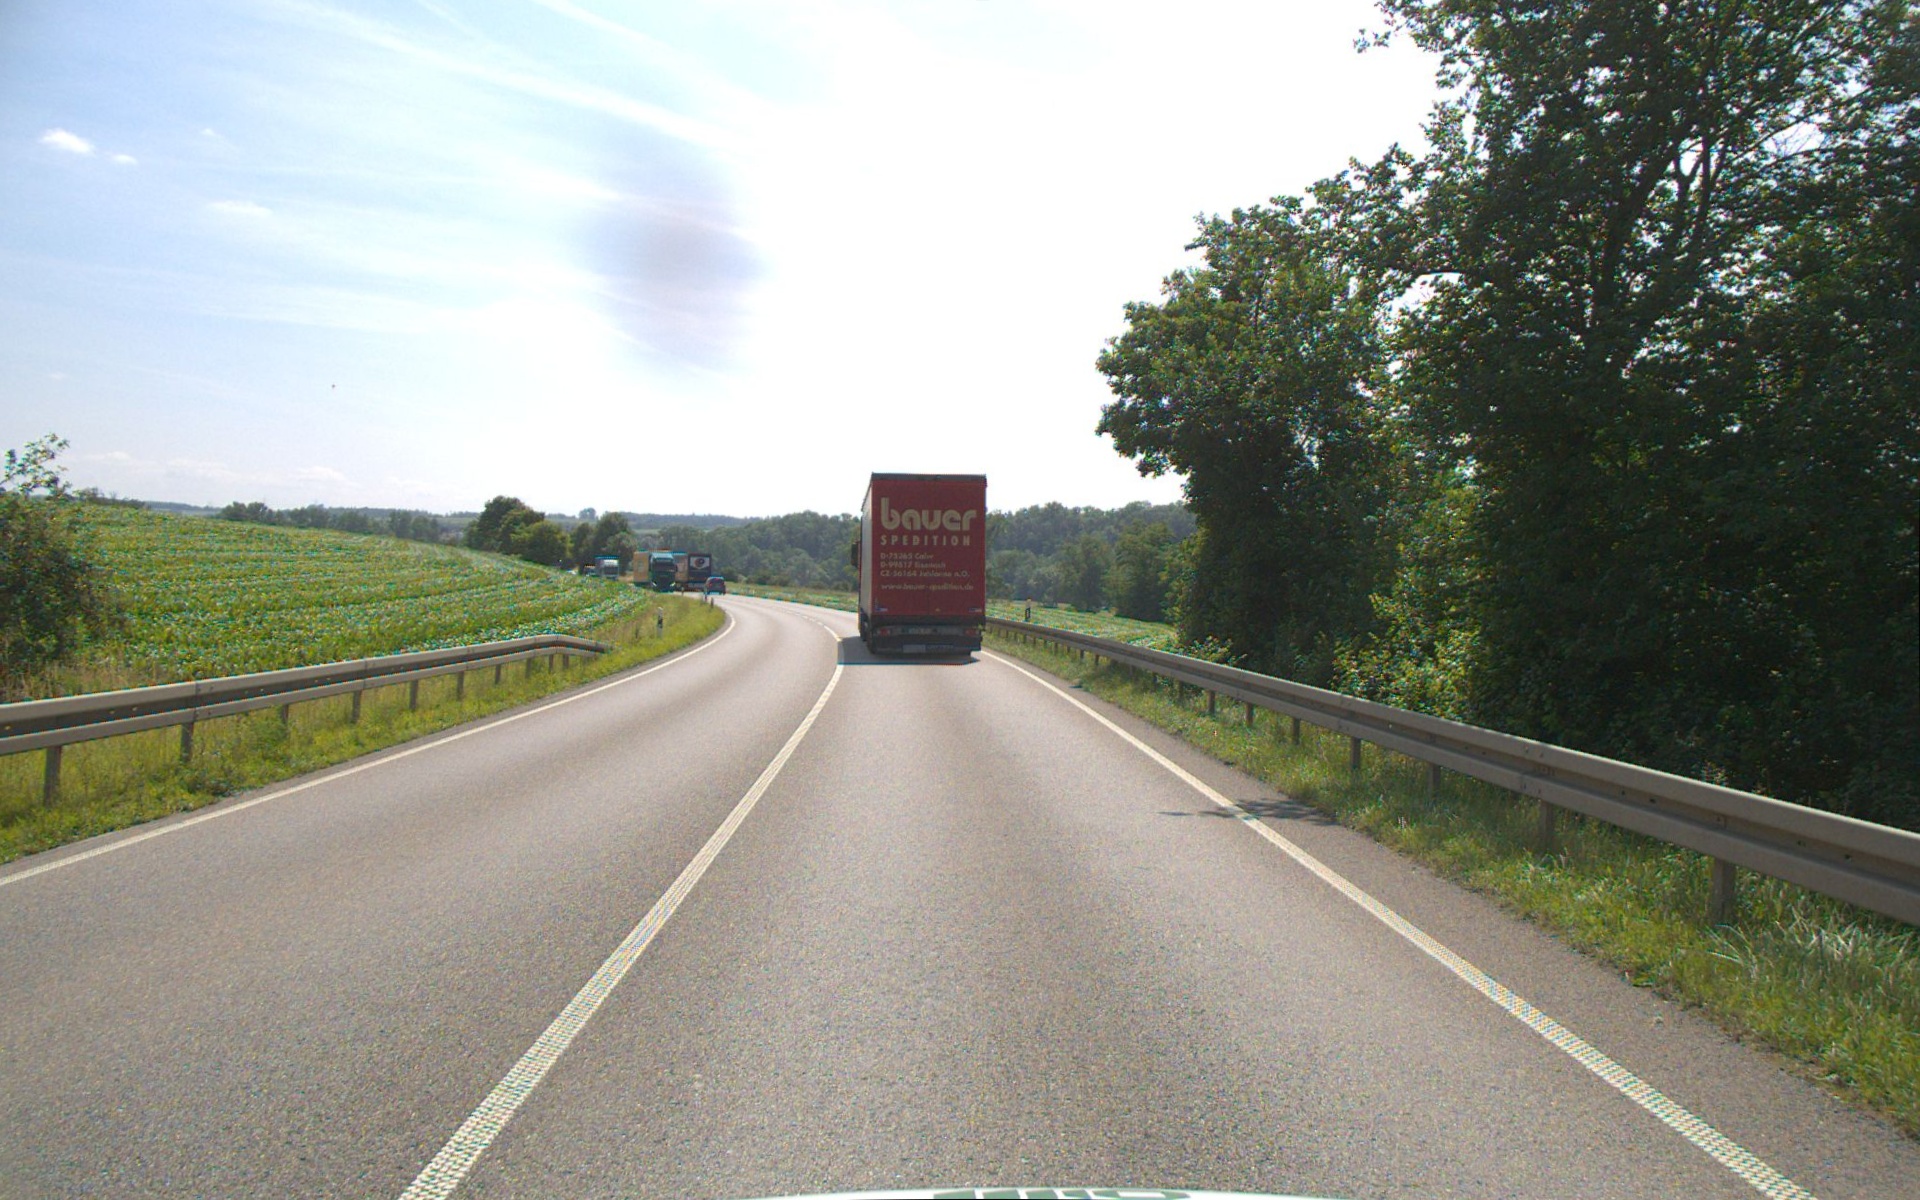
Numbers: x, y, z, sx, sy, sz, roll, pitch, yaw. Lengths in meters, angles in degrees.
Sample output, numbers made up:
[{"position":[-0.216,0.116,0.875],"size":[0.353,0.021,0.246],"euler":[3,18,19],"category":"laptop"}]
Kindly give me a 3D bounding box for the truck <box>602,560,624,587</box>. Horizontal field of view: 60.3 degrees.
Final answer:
[{"position":[-47.710,-3.652,227.250],"size":[2.694,3.641,9.692],"euler":[1,1,-14],"category":"truck"}]

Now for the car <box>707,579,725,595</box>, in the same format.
[{"position":[-23.882,-1.280,161.807],"size":[1.554,1.527,3.865],"euler":[1,1,-12],"category":"car"}]

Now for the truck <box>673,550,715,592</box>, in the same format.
[{"position":[-29.260,-3.071,181.383],"size":[3.579,4.367,11.941],"euler":[1,0,-14],"category":"truck"}]

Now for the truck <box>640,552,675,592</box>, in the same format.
[{"position":[-32.598,-2.973,177.849],"size":[2.724,4.068,16.967],"euler":[1,1,-14],"category":"truck"}]

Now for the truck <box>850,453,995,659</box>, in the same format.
[{"position":[-0.966,-0.946,39.252],"size":[3.032,4.337,8.310],"euler":[1,0,-2],"category":"truck"}]
